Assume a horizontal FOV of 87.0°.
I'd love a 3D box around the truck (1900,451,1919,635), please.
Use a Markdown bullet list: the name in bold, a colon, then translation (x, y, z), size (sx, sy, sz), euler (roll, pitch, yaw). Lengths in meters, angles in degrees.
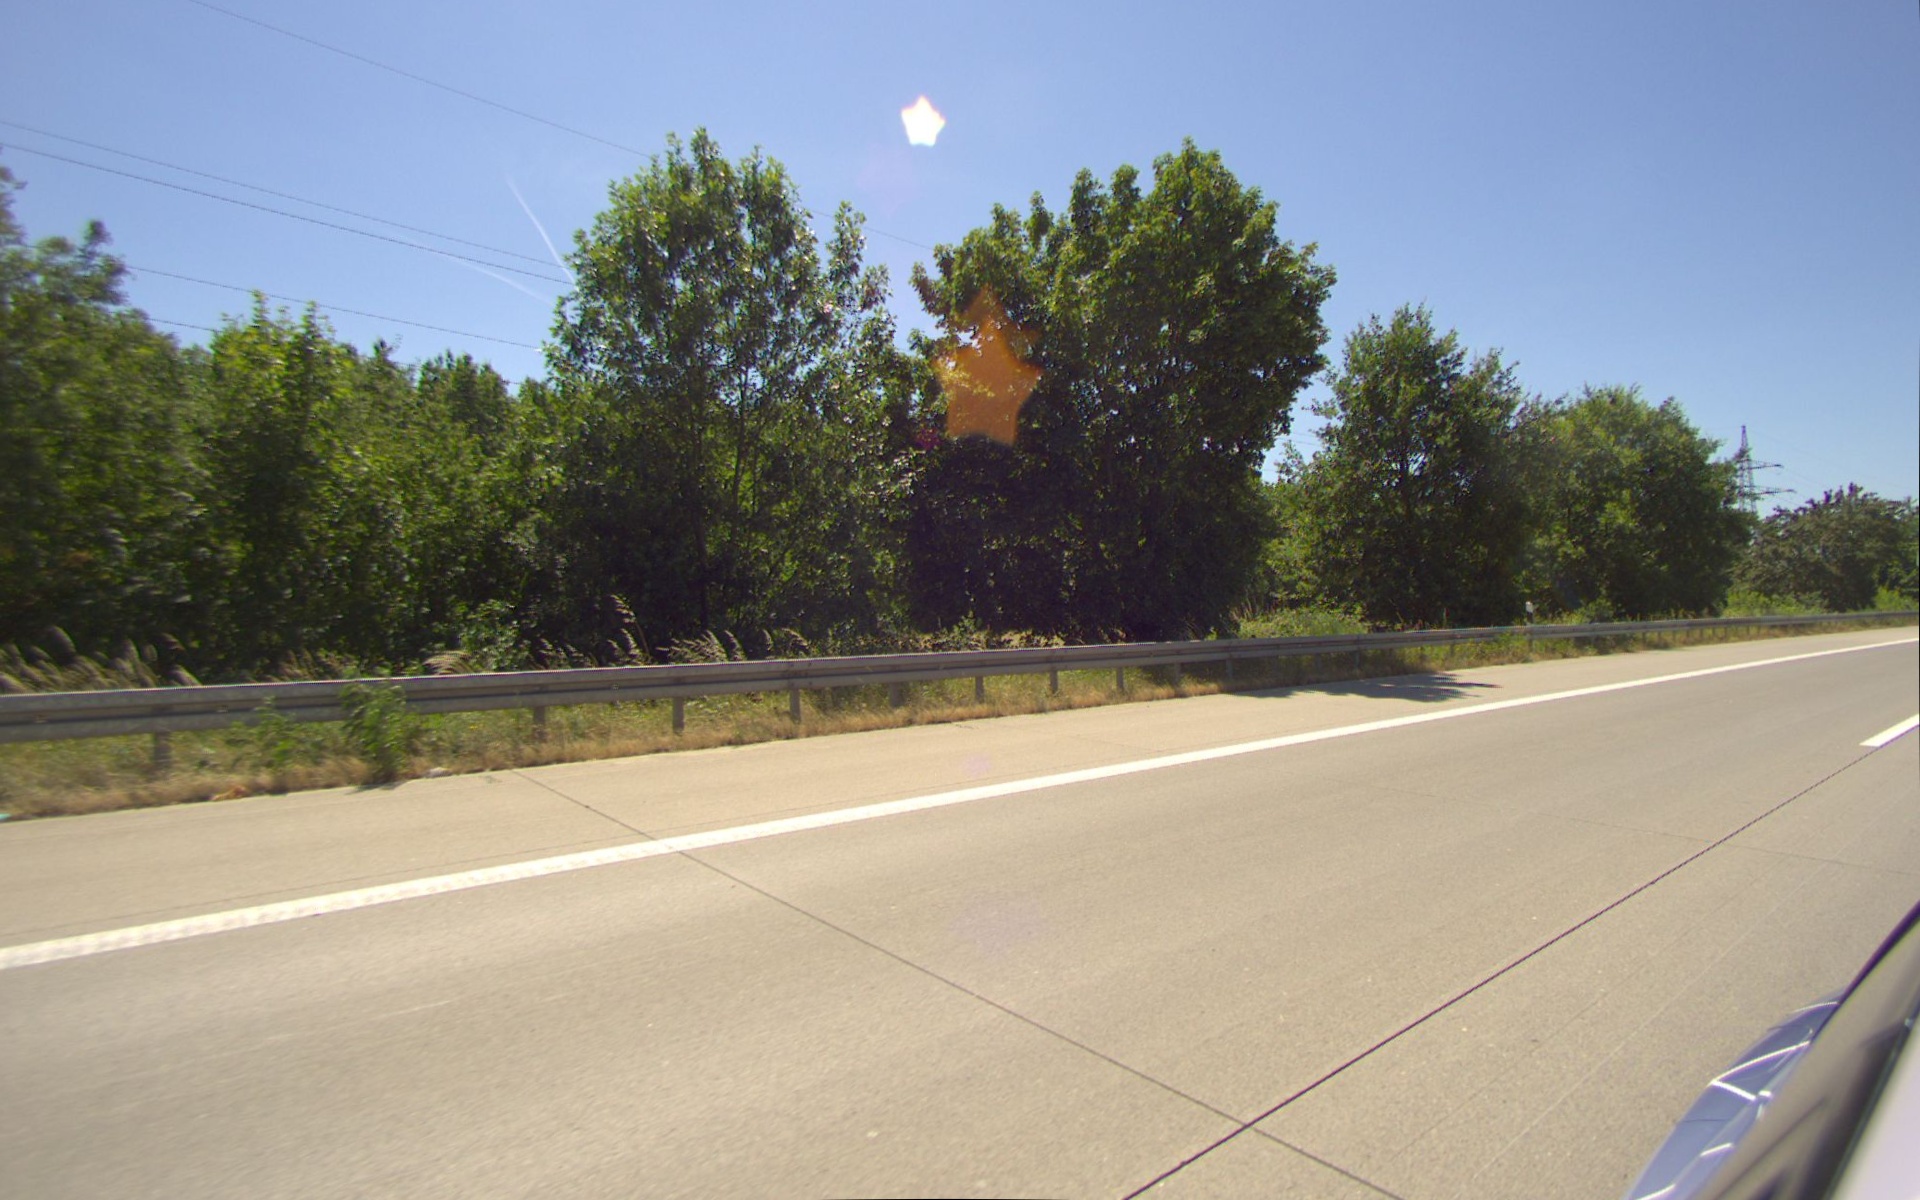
- **truck**: translation (38.649, -1.872, 36.580), size (17.909, 5.863, 3.585), euler (0, -3, -37)
